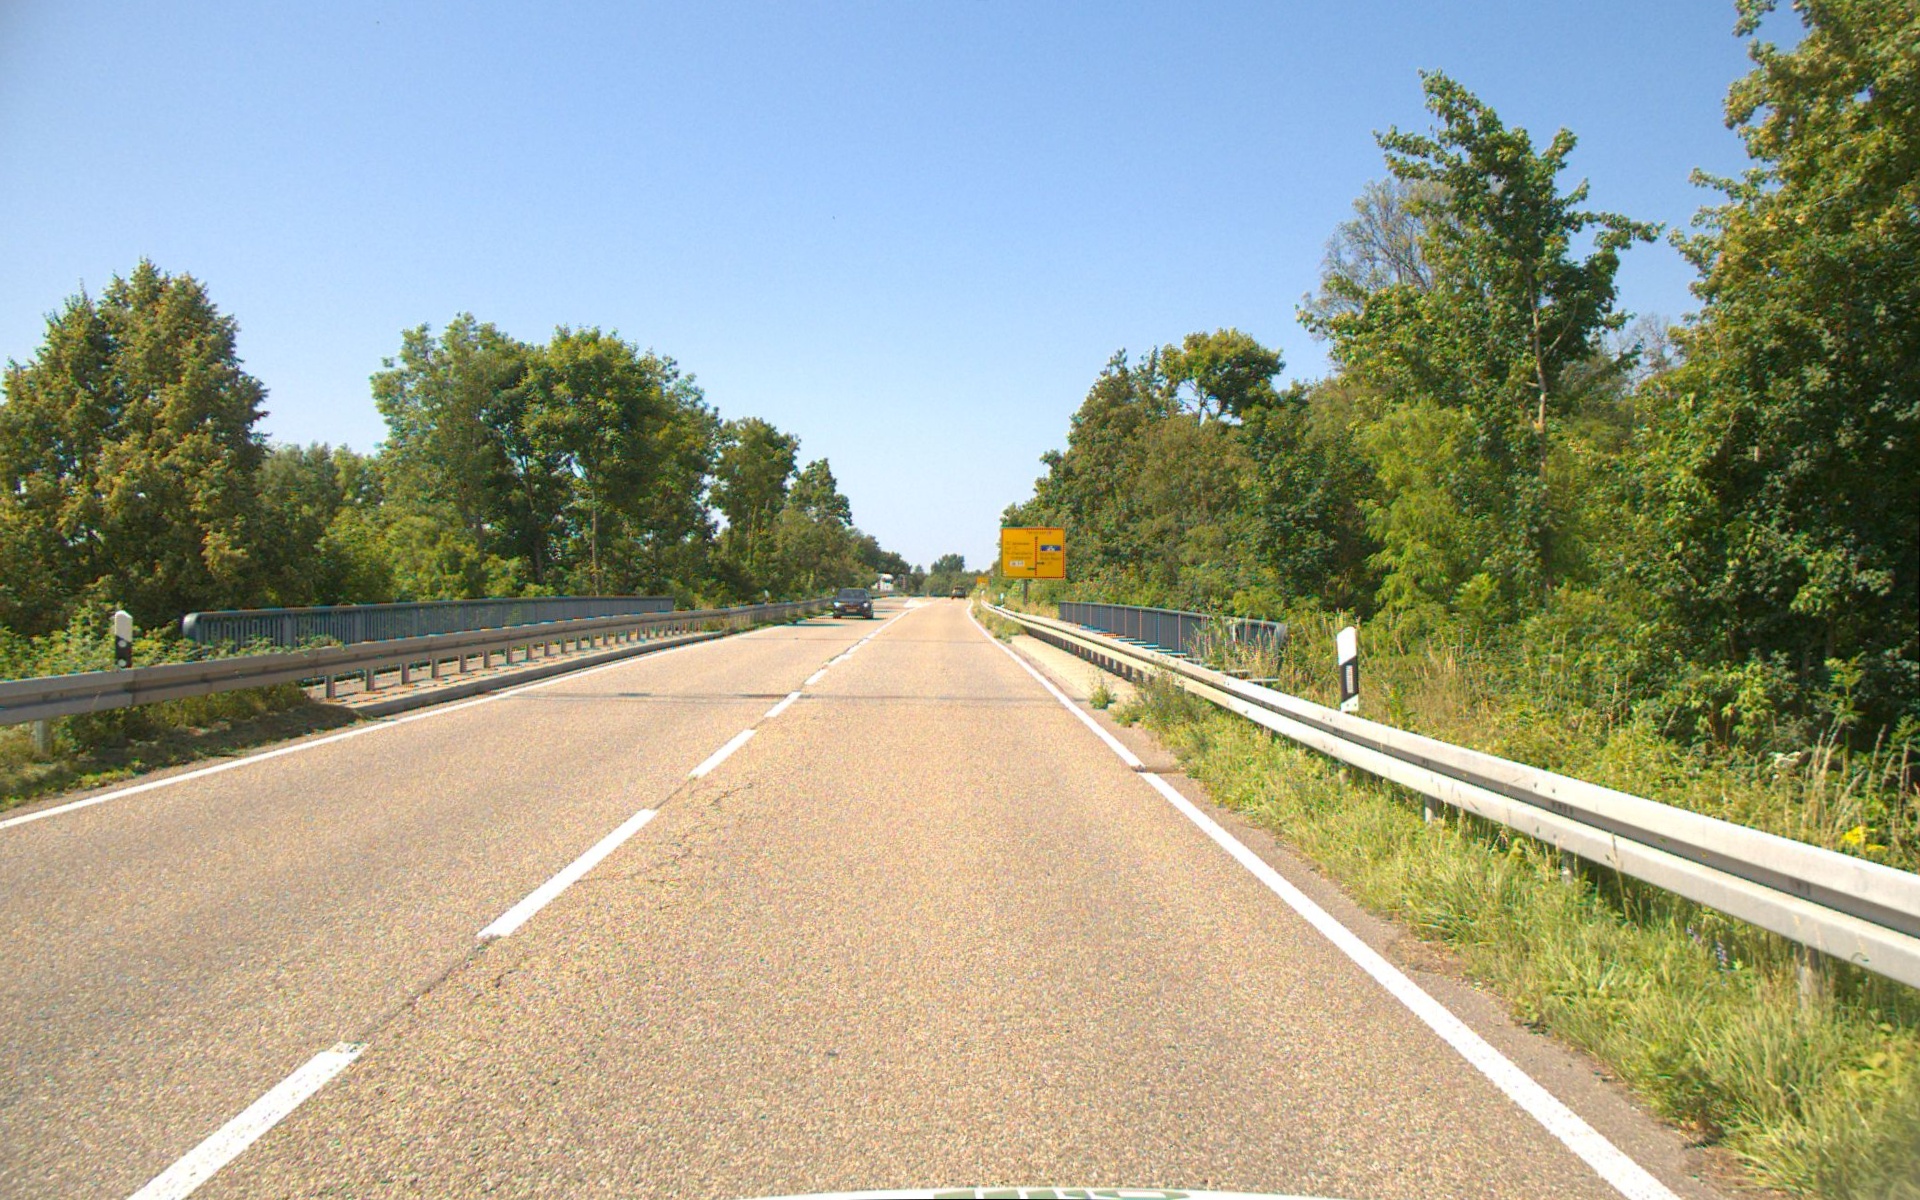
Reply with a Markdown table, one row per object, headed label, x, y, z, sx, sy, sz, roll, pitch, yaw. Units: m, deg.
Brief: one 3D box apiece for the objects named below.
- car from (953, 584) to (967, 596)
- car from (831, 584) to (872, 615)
| label | x | y | z | sx | sy | sz | roll | pitch | yaw |
| --- | --- | --- | --- | --- | --- | --- | --- | --- | --- |
| car | 0.026 | -1.250 | 204.050 | 1.705 | 1.496 | 3.692 | 1 | 0 | 0 |
| car | -5.216 | -0.020 | 80.266 | 1.710 | 1.450 | 4.676 | 1 | 0 | -1 |
